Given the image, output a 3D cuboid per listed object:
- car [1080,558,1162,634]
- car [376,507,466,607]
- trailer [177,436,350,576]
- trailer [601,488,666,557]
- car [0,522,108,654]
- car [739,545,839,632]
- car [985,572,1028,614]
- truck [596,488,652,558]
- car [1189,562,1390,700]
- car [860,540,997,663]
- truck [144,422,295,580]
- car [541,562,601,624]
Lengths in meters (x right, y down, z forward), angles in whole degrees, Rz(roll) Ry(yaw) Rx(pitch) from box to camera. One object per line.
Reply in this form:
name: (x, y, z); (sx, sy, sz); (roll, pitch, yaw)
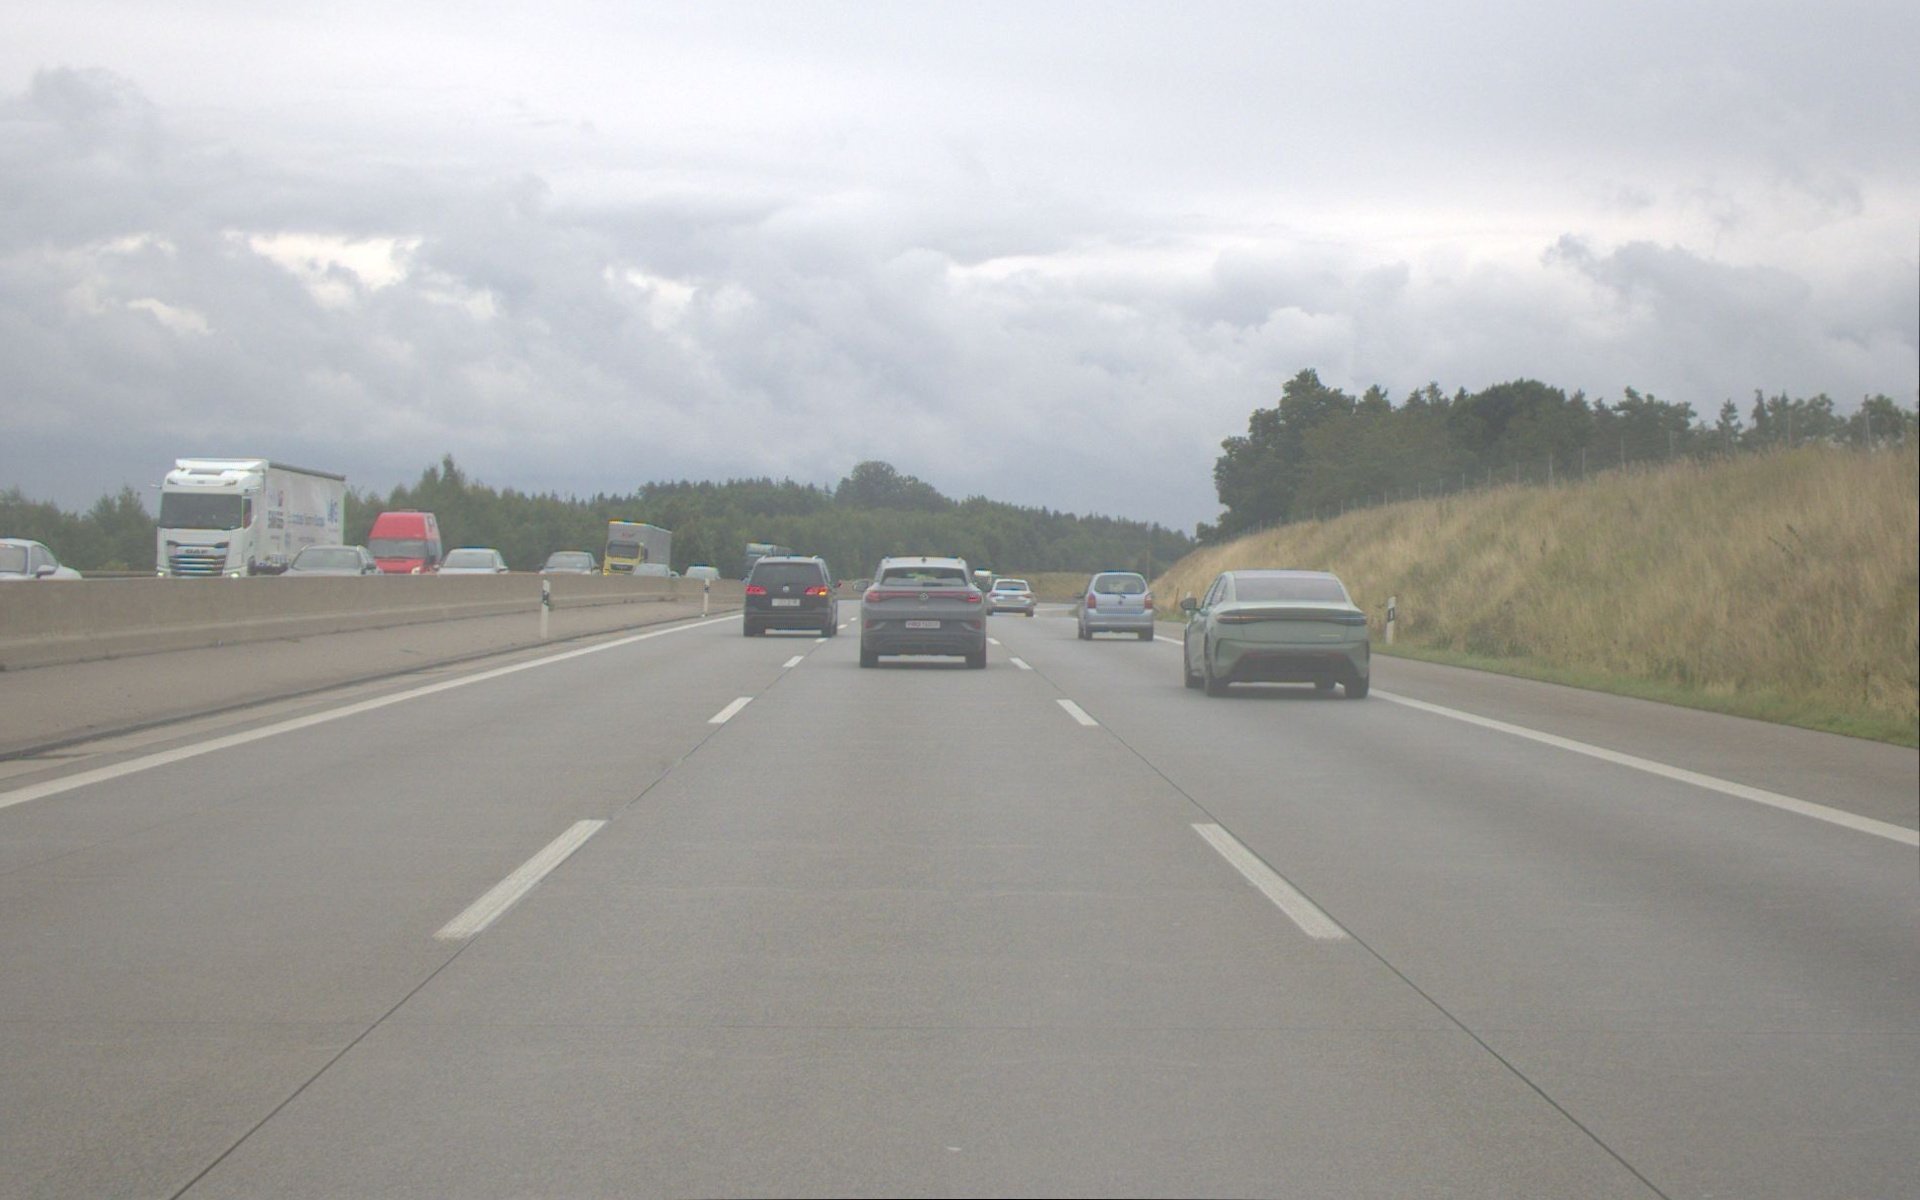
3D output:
car: (3.428, -0.105, 73.707); (1.485, 1.465, 3.505); (3, 1, -1)
car: (-16.431, -1.334, 104.991); (1.801, 2.948, 5.579); (1, 1, 1)
trailer: (-21.175, -2.871, 105.333); (2.887, 3.989, 13.016); (1, 1, -1)
trailer: (-20.565, -4.880, 217.045); (2.918, 4.203, 11.873); (1, 1, 0)
car: (-12.903, -0.207, 45.907); (1.993, 1.656, 4.527); (1, 1, -1)
car: (-3.596, -0.271, 72.858); (1.785, 1.741, 3.915); (1, 1, 2)
car: (1.799, -0.271, 133.305); (1.485, 1.465, 3.505); (3, 1, -1)
truck: (-20.477, -4.709, 209.990); (2.931, 4.166, 5.858); (1, 1, -1)
car: (3.817, 0.318, 40.570); (2.014, 1.441, 4.745); (1, 1, 2)
car: (-0.518, -0.023, 51.241); (1.898, 1.684, 5.267); (1, 1, -2)
truck: (-21.012, -2.804, 97.899); (2.883, 4.276, 7.137); (1, 1, -1)
car: (-13.522, -0.269, 119.603); (1.688, 2.007, 4.838); (1, 1, -2)
